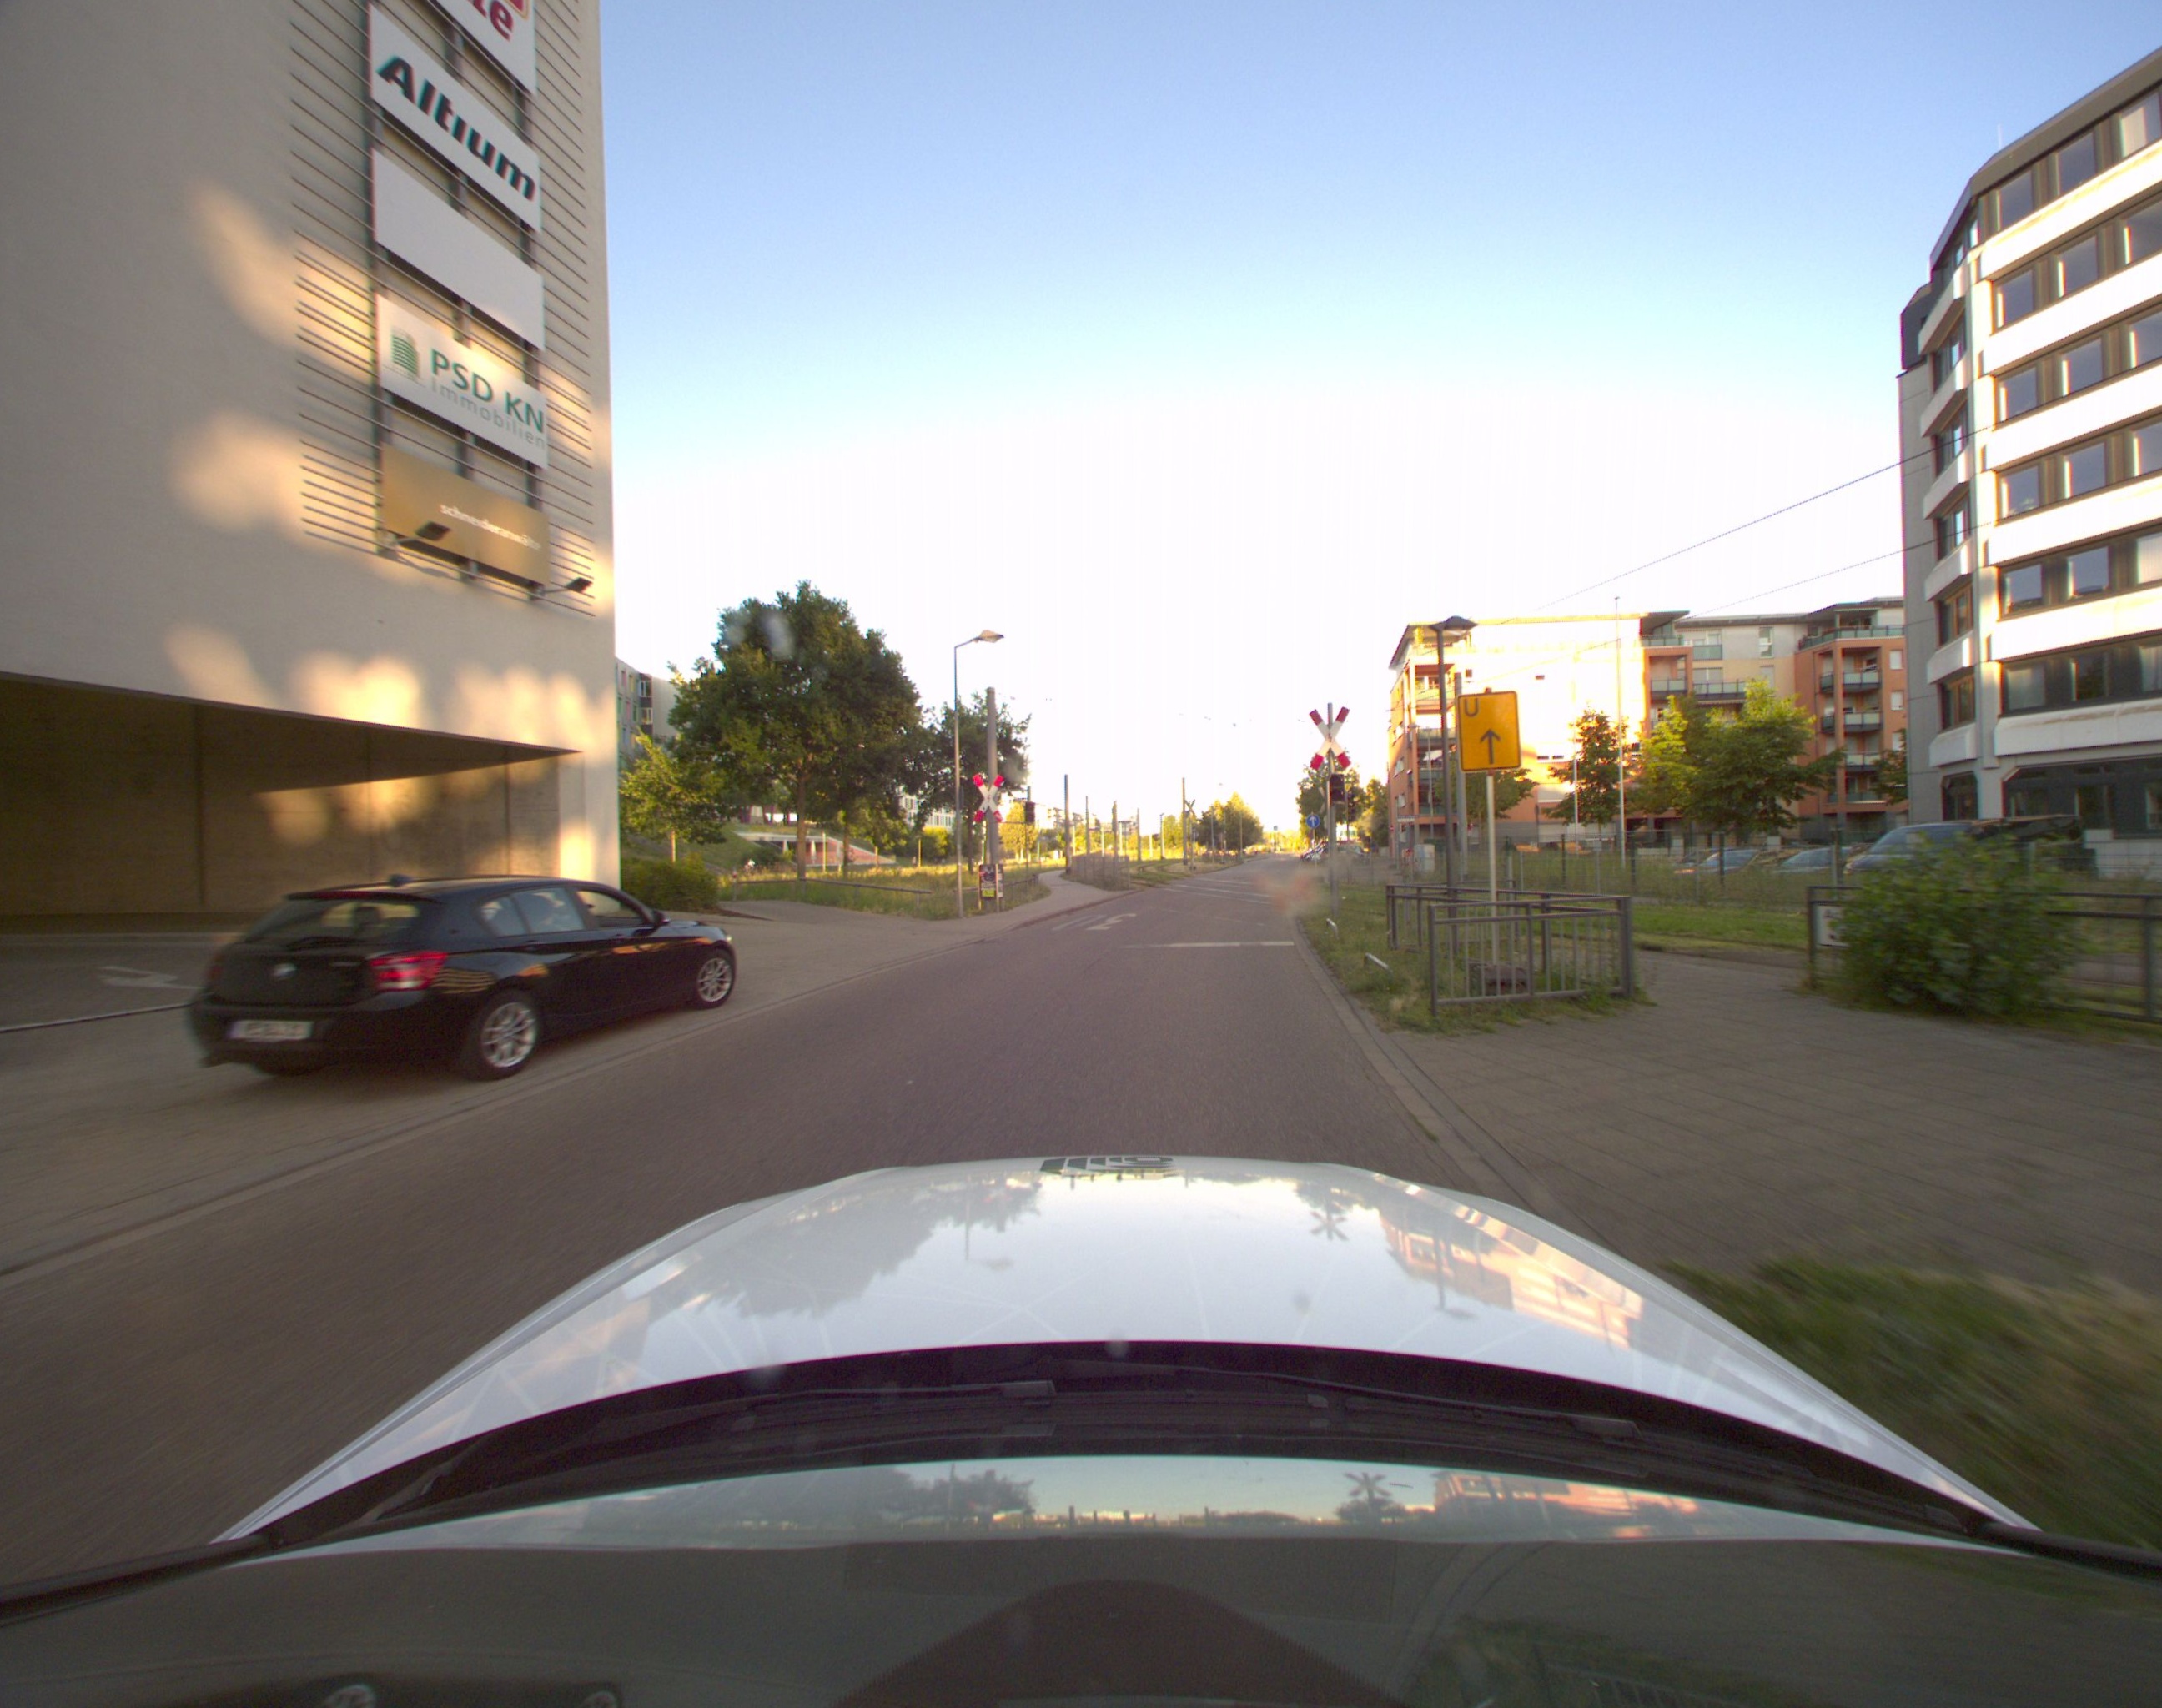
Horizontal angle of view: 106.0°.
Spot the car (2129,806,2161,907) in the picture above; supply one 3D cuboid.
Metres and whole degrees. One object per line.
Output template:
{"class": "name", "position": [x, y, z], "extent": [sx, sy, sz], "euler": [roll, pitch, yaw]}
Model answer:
{"class": "car", "position": [20.708, 0.000, 13.728], "extent": [3.983, 1.750, 1.995], "euler": [-1, 0, -7]}

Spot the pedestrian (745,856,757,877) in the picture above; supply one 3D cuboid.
{"class": "pedestrian", "position": [-28.980, 1.058, 71.474], "extent": [0.612, 1.836, 0.793], "euler": [0, 0, 14]}

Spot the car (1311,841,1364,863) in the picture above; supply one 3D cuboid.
{"class": "car", "position": [20.806, -0.133, 66.243], "extent": [4.020, 1.569, 1.680], "euler": [-3, 0, 15]}

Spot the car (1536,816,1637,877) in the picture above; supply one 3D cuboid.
{"class": "car", "position": [18.230, -0.268, 29.575], "extent": [1.979, 2.013, 4.016], "euler": [-1, 0, 14]}

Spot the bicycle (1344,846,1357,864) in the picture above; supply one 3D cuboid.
{"class": "bicycle", "position": [19.548, 0.072, 59.133], "extent": [0.674, 1.152, 1.935], "euler": [-4, 1, 13]}

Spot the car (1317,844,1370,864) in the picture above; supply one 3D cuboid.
{"class": "car", "position": [20.579, 0.022, 63.959], "extent": [3.726, 1.473, 1.618], "euler": [-1, 0, 10]}

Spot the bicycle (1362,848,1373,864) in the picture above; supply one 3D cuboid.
{"class": "bicycle", "position": [20.806, 0.119, 59.203], "extent": [0.525, 1.126, 1.970], "euler": [0, 2, 13]}

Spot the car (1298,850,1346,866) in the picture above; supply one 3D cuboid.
{"class": "car", "position": [24.914, 0.426, 84.241], "extent": [4.634, 1.556, 1.819], "euler": [-2, 0, 15]}

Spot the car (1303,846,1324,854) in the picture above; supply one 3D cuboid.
{"class": "car", "position": [51.868, -0.905, 181.717], "extent": [4.450, 1.596, 2.009], "euler": [-2, 0, 16]}

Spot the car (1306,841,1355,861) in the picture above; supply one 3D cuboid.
{"class": "car", "position": [23.157, -0.255, 75.778], "extent": [4.184, 1.569, 1.800], "euler": [-4, -1, 15]}

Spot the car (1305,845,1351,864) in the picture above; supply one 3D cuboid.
{"class": "car", "position": [21.659, 0.036, 71.457], "extent": [3.746, 1.496, 1.545], "euler": [-1, -2, 15]}

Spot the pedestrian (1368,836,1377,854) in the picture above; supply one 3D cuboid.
{"class": "pedestrian", "position": [28.060, -0.849, 78.362], "extent": [0.663, 1.743, 0.702], "euler": [-2, 0, 15]}

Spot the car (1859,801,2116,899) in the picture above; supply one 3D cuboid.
{"class": "car", "position": [20.464, -0.102, 18.480], "extent": [3.983, 2.013, 1.995], "euler": [-1, 0, -7]}

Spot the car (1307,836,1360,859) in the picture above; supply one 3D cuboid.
{"class": "car", "position": [25.050, -0.605, 80.833], "extent": [4.882, 2.117, 2.025], "euler": [-2, 0, 16]}

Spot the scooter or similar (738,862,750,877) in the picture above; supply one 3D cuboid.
{"class": "scooter or similar", "position": [-29.133, 1.317, 70.477], "extent": [0.612, 1.244, 0.793], "euler": [0, 0, 14]}

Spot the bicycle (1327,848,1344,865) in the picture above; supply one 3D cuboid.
{"class": "bicycle", "position": [18.553, 0.177, 59.364], "extent": [0.713, 1.152, 1.901], "euler": [-3, 2, 5]}

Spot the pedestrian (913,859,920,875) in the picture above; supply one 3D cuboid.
{"class": "pedestrian", "position": [-20.775, 1.619, 103.036], "extent": [0.612, 2.082, 0.793], "euler": [0, 0, 14]}

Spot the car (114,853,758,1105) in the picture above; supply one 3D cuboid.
{"class": "car", "position": [-4.726, 0.729, 6.973], "extent": [1.843, 1.442, 4.235], "euler": [1, 0, 6]}

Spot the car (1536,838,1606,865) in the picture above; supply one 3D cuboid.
{"class": "car", "position": [31.316, -0.163, 52.194], "extent": [1.983, 1.594, 4.824], "euler": [-1, 0, 6]}
